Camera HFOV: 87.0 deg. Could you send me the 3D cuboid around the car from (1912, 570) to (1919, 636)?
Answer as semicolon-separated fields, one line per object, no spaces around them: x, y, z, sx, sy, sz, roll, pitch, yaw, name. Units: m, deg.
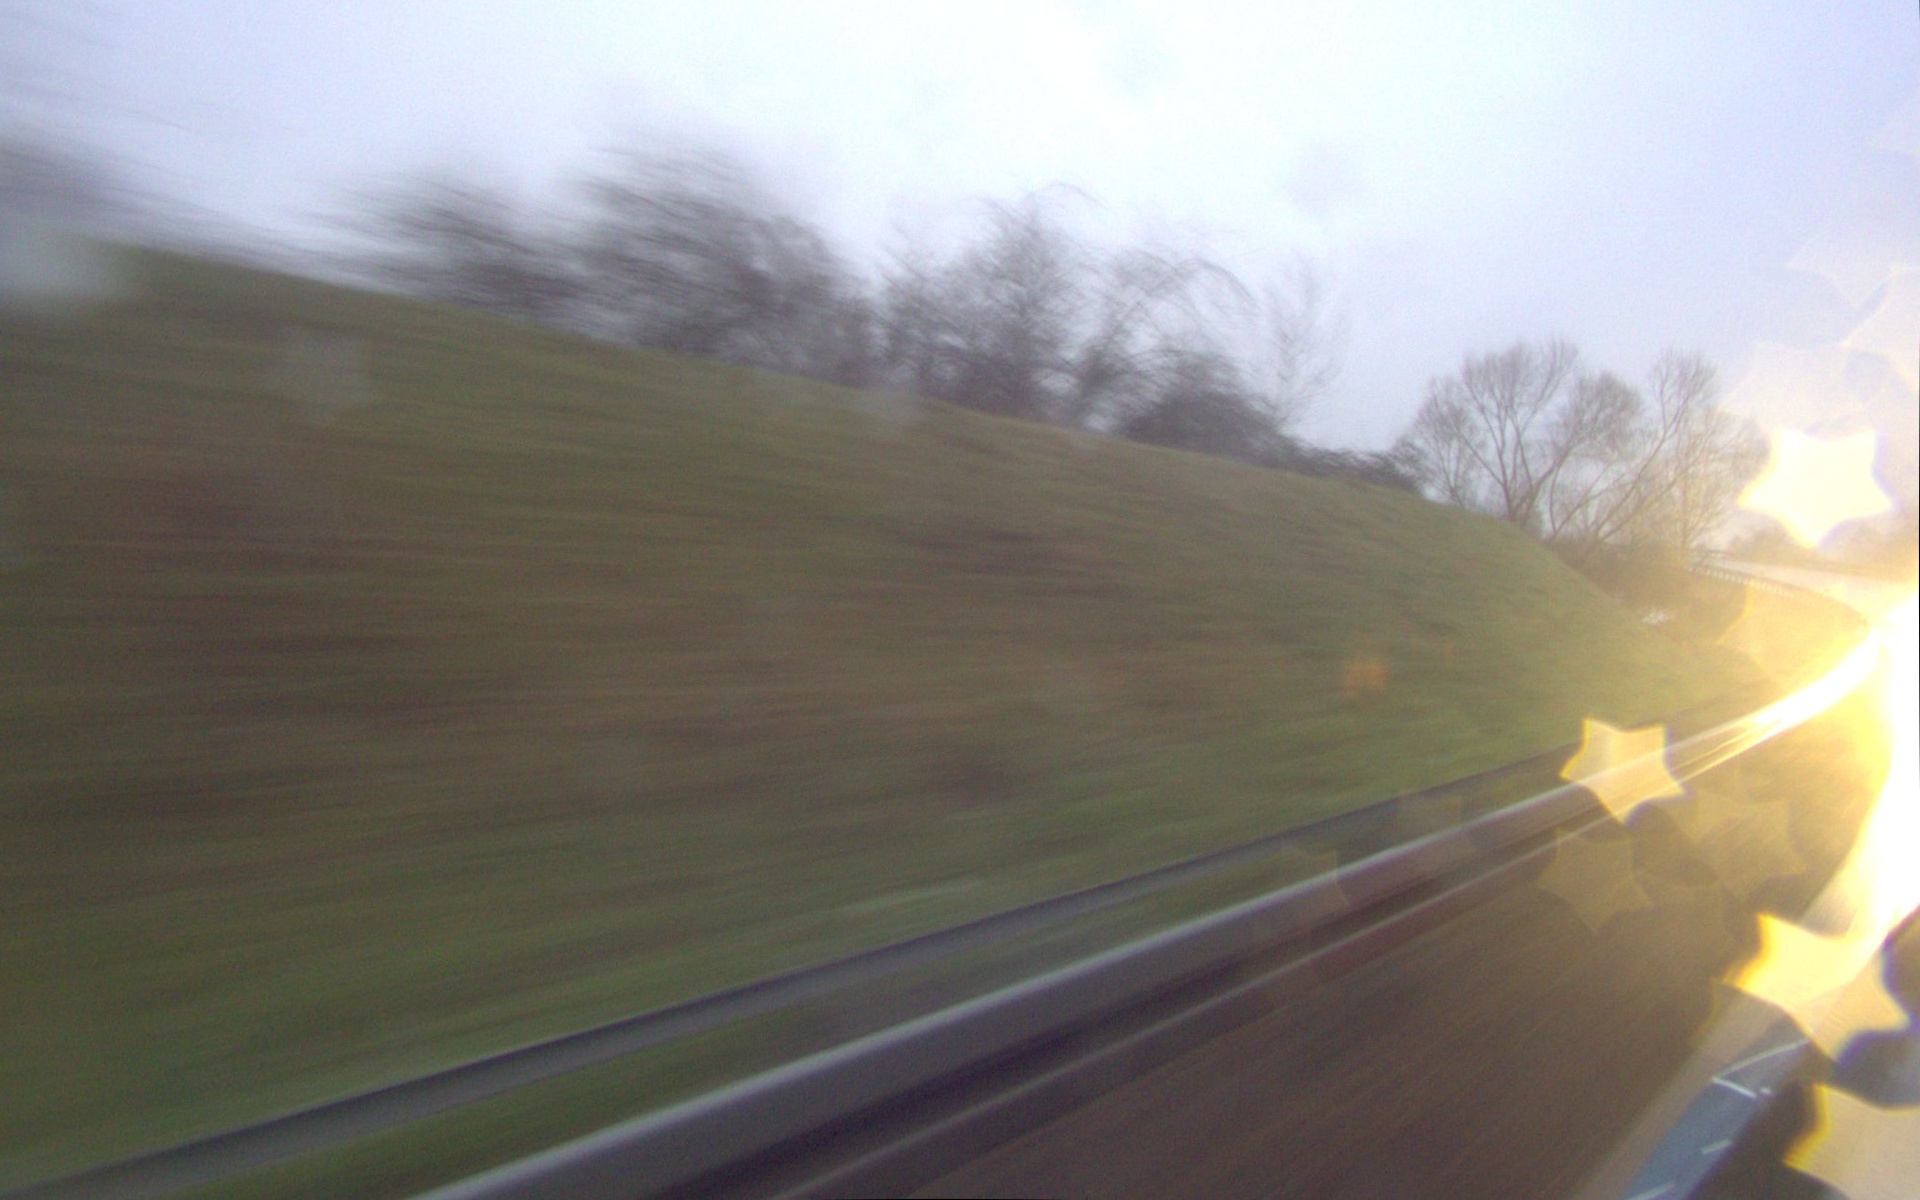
23.338;0.148;22.895;2.093;1.594;4.734;4;3;38;car
